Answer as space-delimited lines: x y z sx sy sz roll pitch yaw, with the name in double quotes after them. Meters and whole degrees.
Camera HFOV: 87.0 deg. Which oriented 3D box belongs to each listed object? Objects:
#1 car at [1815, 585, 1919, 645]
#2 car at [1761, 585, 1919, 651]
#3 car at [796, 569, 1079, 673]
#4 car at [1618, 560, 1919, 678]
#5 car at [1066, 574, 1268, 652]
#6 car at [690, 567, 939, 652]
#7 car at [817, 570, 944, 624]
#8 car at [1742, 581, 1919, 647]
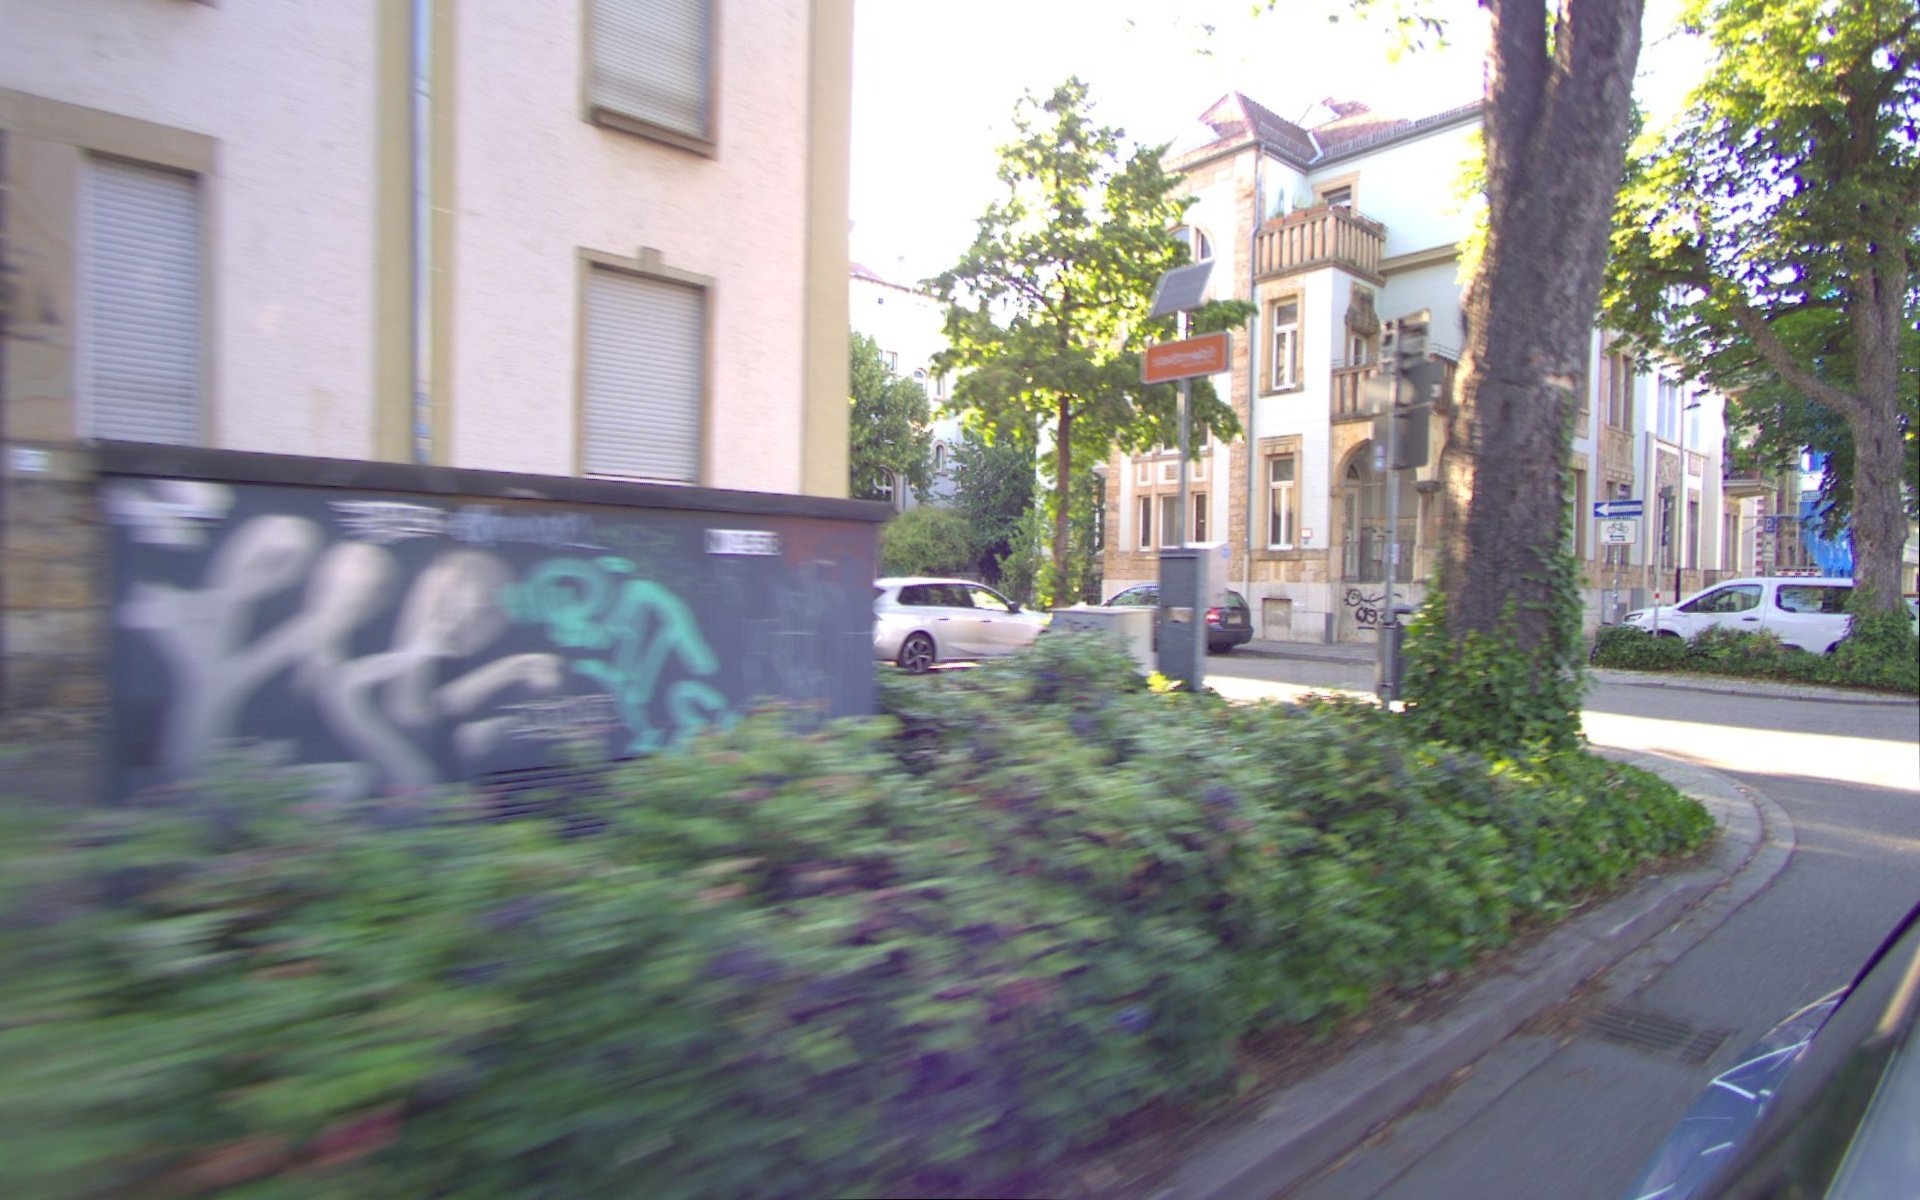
27.316 0.464 28.881 1.656 1.553 4.156 1 3 -38 "car"
23.263 0.440 26.125 1.703 1.480 3.756 1 3 -40 "car"
-0.255 0.301 16.246 4.389 1.426 1.787 1 1 -40 "car"
15.142 0.251 18.937 1.965 1.829 4.324 1 3 -40 "car"
4.425 0.245 22.102 1.626 1.494 4.165 3 0 -41 "car"
-2.716 0.168 19.495 4.449 1.426 1.848 1 1 -40 "car"
-2.485 -0.120 30.892 1.726 1.494 4.165 1 1 -41 "car"
24.576 0.360 27.999 1.796 1.553 4.324 1 3 -40 "car"
